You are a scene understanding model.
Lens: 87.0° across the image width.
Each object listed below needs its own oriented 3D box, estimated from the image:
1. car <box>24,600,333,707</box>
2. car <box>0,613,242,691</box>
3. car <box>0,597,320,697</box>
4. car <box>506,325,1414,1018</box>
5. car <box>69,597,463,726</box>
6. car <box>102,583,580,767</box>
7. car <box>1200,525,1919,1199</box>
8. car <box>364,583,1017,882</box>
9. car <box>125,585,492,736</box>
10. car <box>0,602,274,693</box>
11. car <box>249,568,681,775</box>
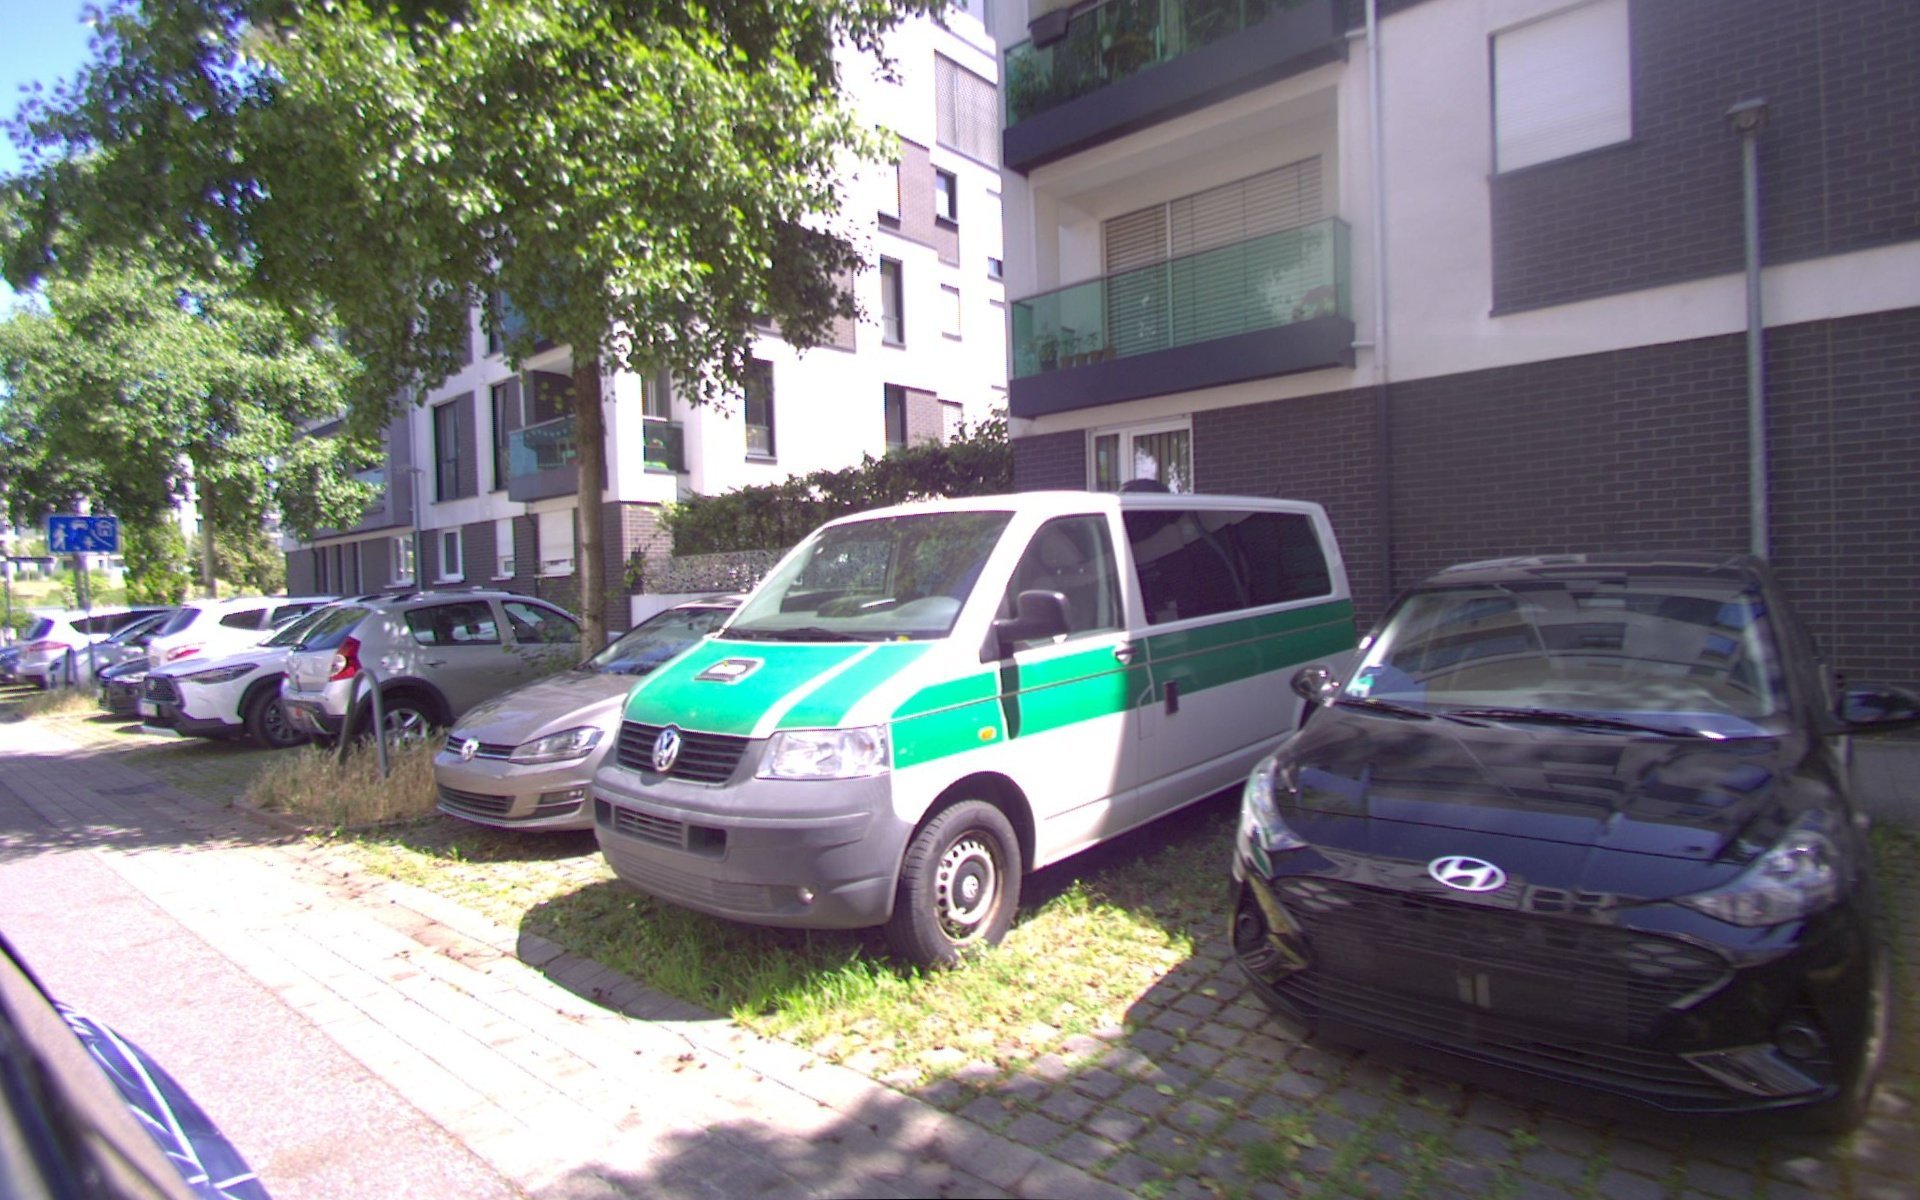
[{"bbox_3d":[-14.501,0.904,19.007,1.820,1.542,4.212,-2,2,37],"label":"car"},{"bbox_3d":[-20.387,1.171,24.080,1.925,1.496,5.050,-1,2,38],"label":"car"},{"bbox_3d":[-16.433,0.878,20.933,2.040,1.644,4.981,-2,1,38],"label":"car"},{"bbox_3d":[0.541,0.178,5.804,2.187,2.126,5.284,-1,0,43],"label":"car"},{"bbox_3d":[-10.754,0.836,16.038,1.828,1.467,4.801,-1,3,41],"label":"car"},{"bbox_3d":[-7.245,0.722,12.336,1.962,1.605,4.519,-1,2,36],"label":"car"},{"bbox_3d":[2.513,0.518,3.806,1.677,1.492,3.587,-1,2,40],"label":"car"},{"bbox_3d":[-1.672,0.673,7.571,1.998,1.501,4.377,-1,0,39],"label":"car"},{"bbox_3d":[-9.045,0.723,14.279,1.949,1.641,3.938,-1,2,43],"label":"car"},{"bbox_3d":[-18.318,0.963,22.439,1.826,1.459,4.773,-1,4,38],"label":"car"},{"bbox_3d":[-5.106,0.597,10.783,1.851,1.688,3.643,-1,2,40],"label":"car"}]
